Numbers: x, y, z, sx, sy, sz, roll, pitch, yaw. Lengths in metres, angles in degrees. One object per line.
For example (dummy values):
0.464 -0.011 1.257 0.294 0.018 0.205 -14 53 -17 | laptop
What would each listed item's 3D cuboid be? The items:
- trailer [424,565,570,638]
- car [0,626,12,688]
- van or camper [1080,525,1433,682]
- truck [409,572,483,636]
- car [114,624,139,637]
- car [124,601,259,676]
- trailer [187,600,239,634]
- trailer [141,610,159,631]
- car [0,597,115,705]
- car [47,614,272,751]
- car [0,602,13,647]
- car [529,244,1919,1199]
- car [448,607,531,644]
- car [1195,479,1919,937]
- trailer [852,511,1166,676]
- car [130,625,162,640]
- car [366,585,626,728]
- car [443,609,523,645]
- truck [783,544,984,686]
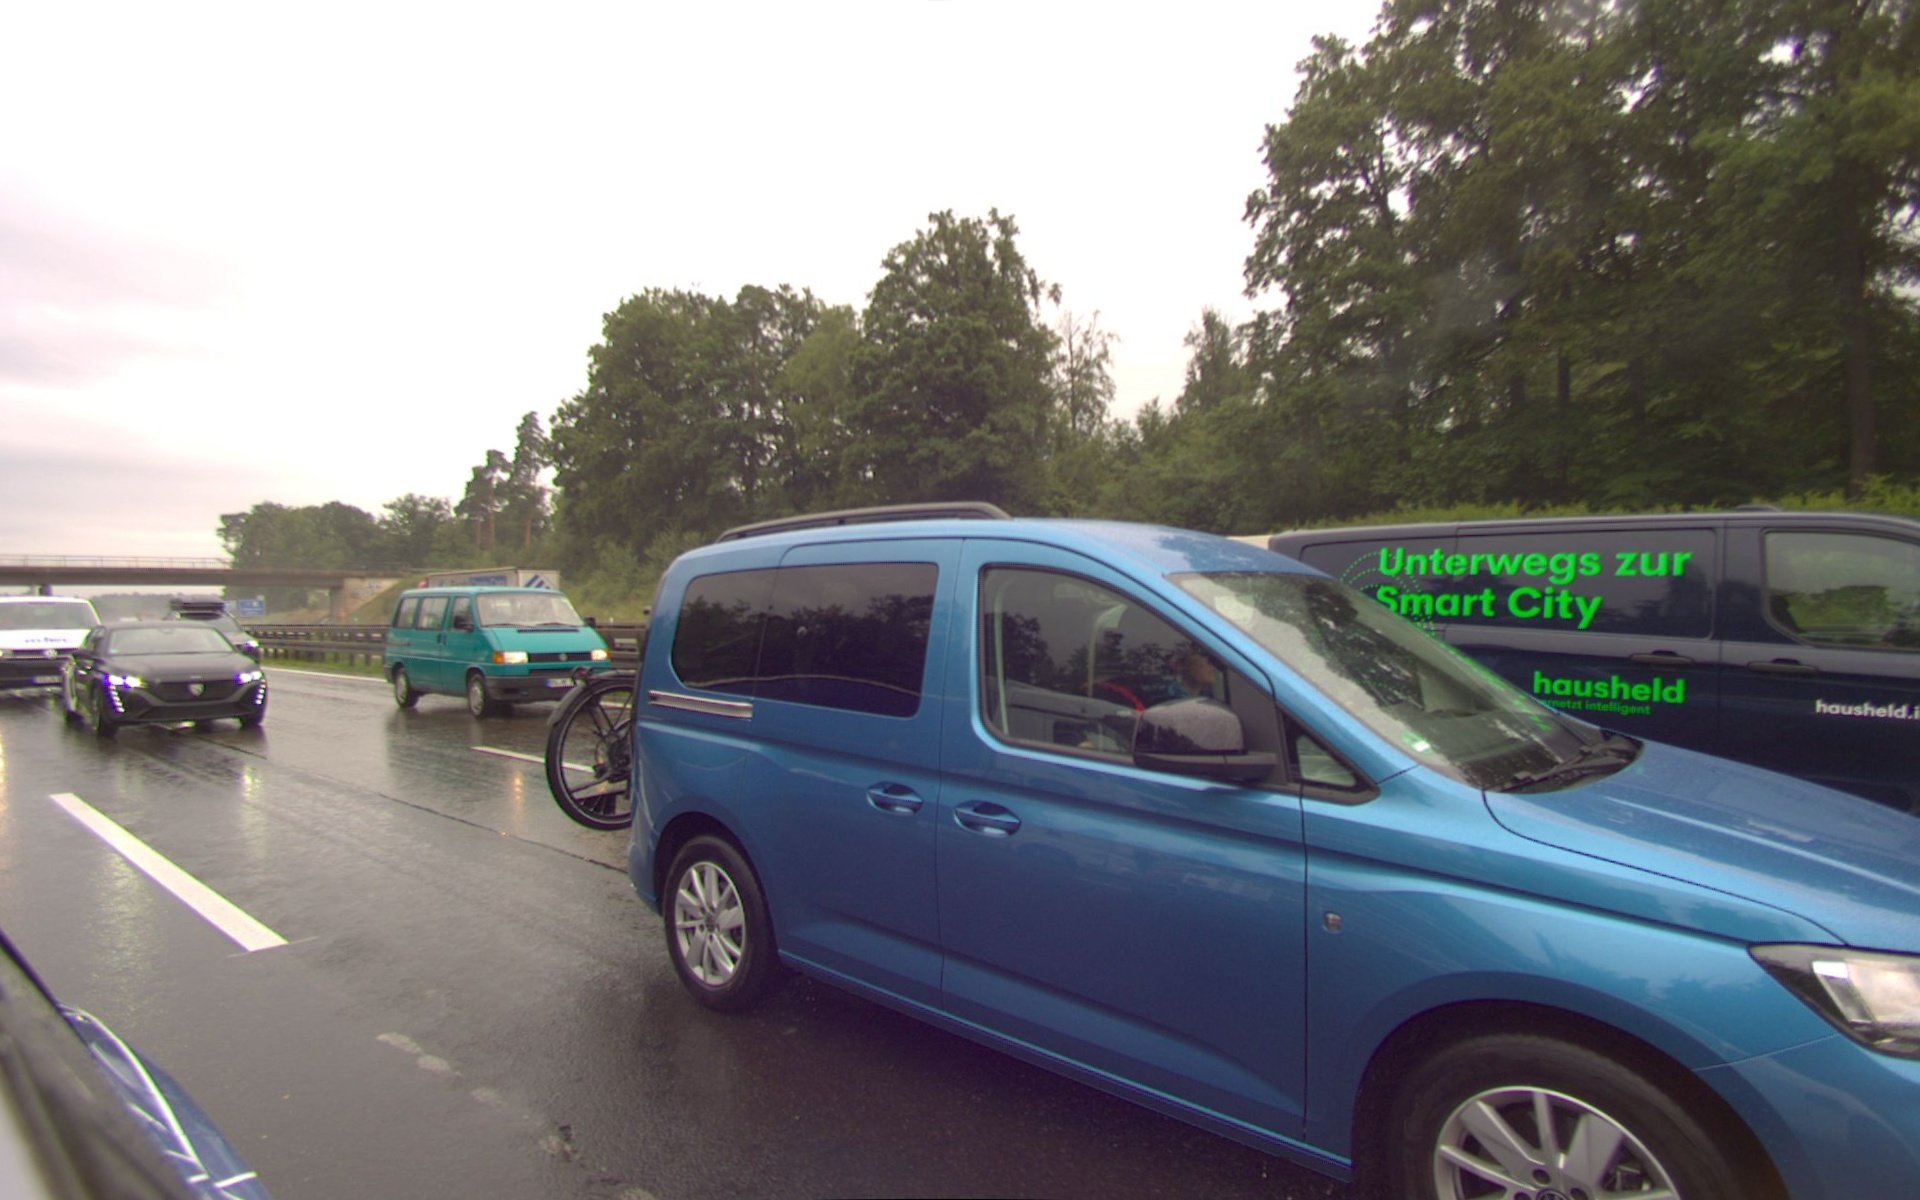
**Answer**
-28.200 0.197 61.052 13.958 3.984 2.690 -1 -2 42 | trailer
-25.804 1.454 26.065 4.468 1.516 1.825 -1 -1 44 | car
5.468 0.140 19.377 6.116 2.567 2.175 -2 -2 41 | van or camper
-33.442 0.304 65.827 4.890 3.984 2.675 -1 -2 42 | truck
-100.043 3.683 121.402 1.970 1.519 4.711 1 -2 -44 | car
-20.551 0.974 27.009 4.603 1.839 1.957 -1 0 41 | car
-90.492 2.091 122.419 13.566 3.847 2.990 -2 -1 45 | trailer
-157.222 3.988 196.333 2.649 3.847 9.022 0 -1 -39 | trailer
-18.179 0.947 19.858 4.768 1.894 1.968 -2 -1 44 | car
-11.068 0.989 13.867 4.468 1.516 1.825 -1 1 44 | car
-35.533 0.911 36.326 4.767 1.572 1.968 -2 -1 43 | car
0.697 0.483 3.637 5.014 1.926 2.245 -2 -1 42 | car
-24.654 1.326 52.904 5.220 1.839 1.957 -1 0 41 | car
4.153 0.468 5.615 5.241 1.958 1.970 -1 0 42 | car
1.033 -0.066 28.430 9.418 3.984 2.352 -1 -2 41 | trailer
-84.715 3.372 105.358 4.707 1.519 1.971 -2 -2 43 | car
-7.285 0.773 15.652 4.757 1.877 1.890 -1 0 41 | car
-24.940 1.437 52.800 5.037 1.783 1.972 -2 -2 42 | car
-2.512 0.477 31.549 6.534 3.984 2.352 -1 -2 41 | truck
